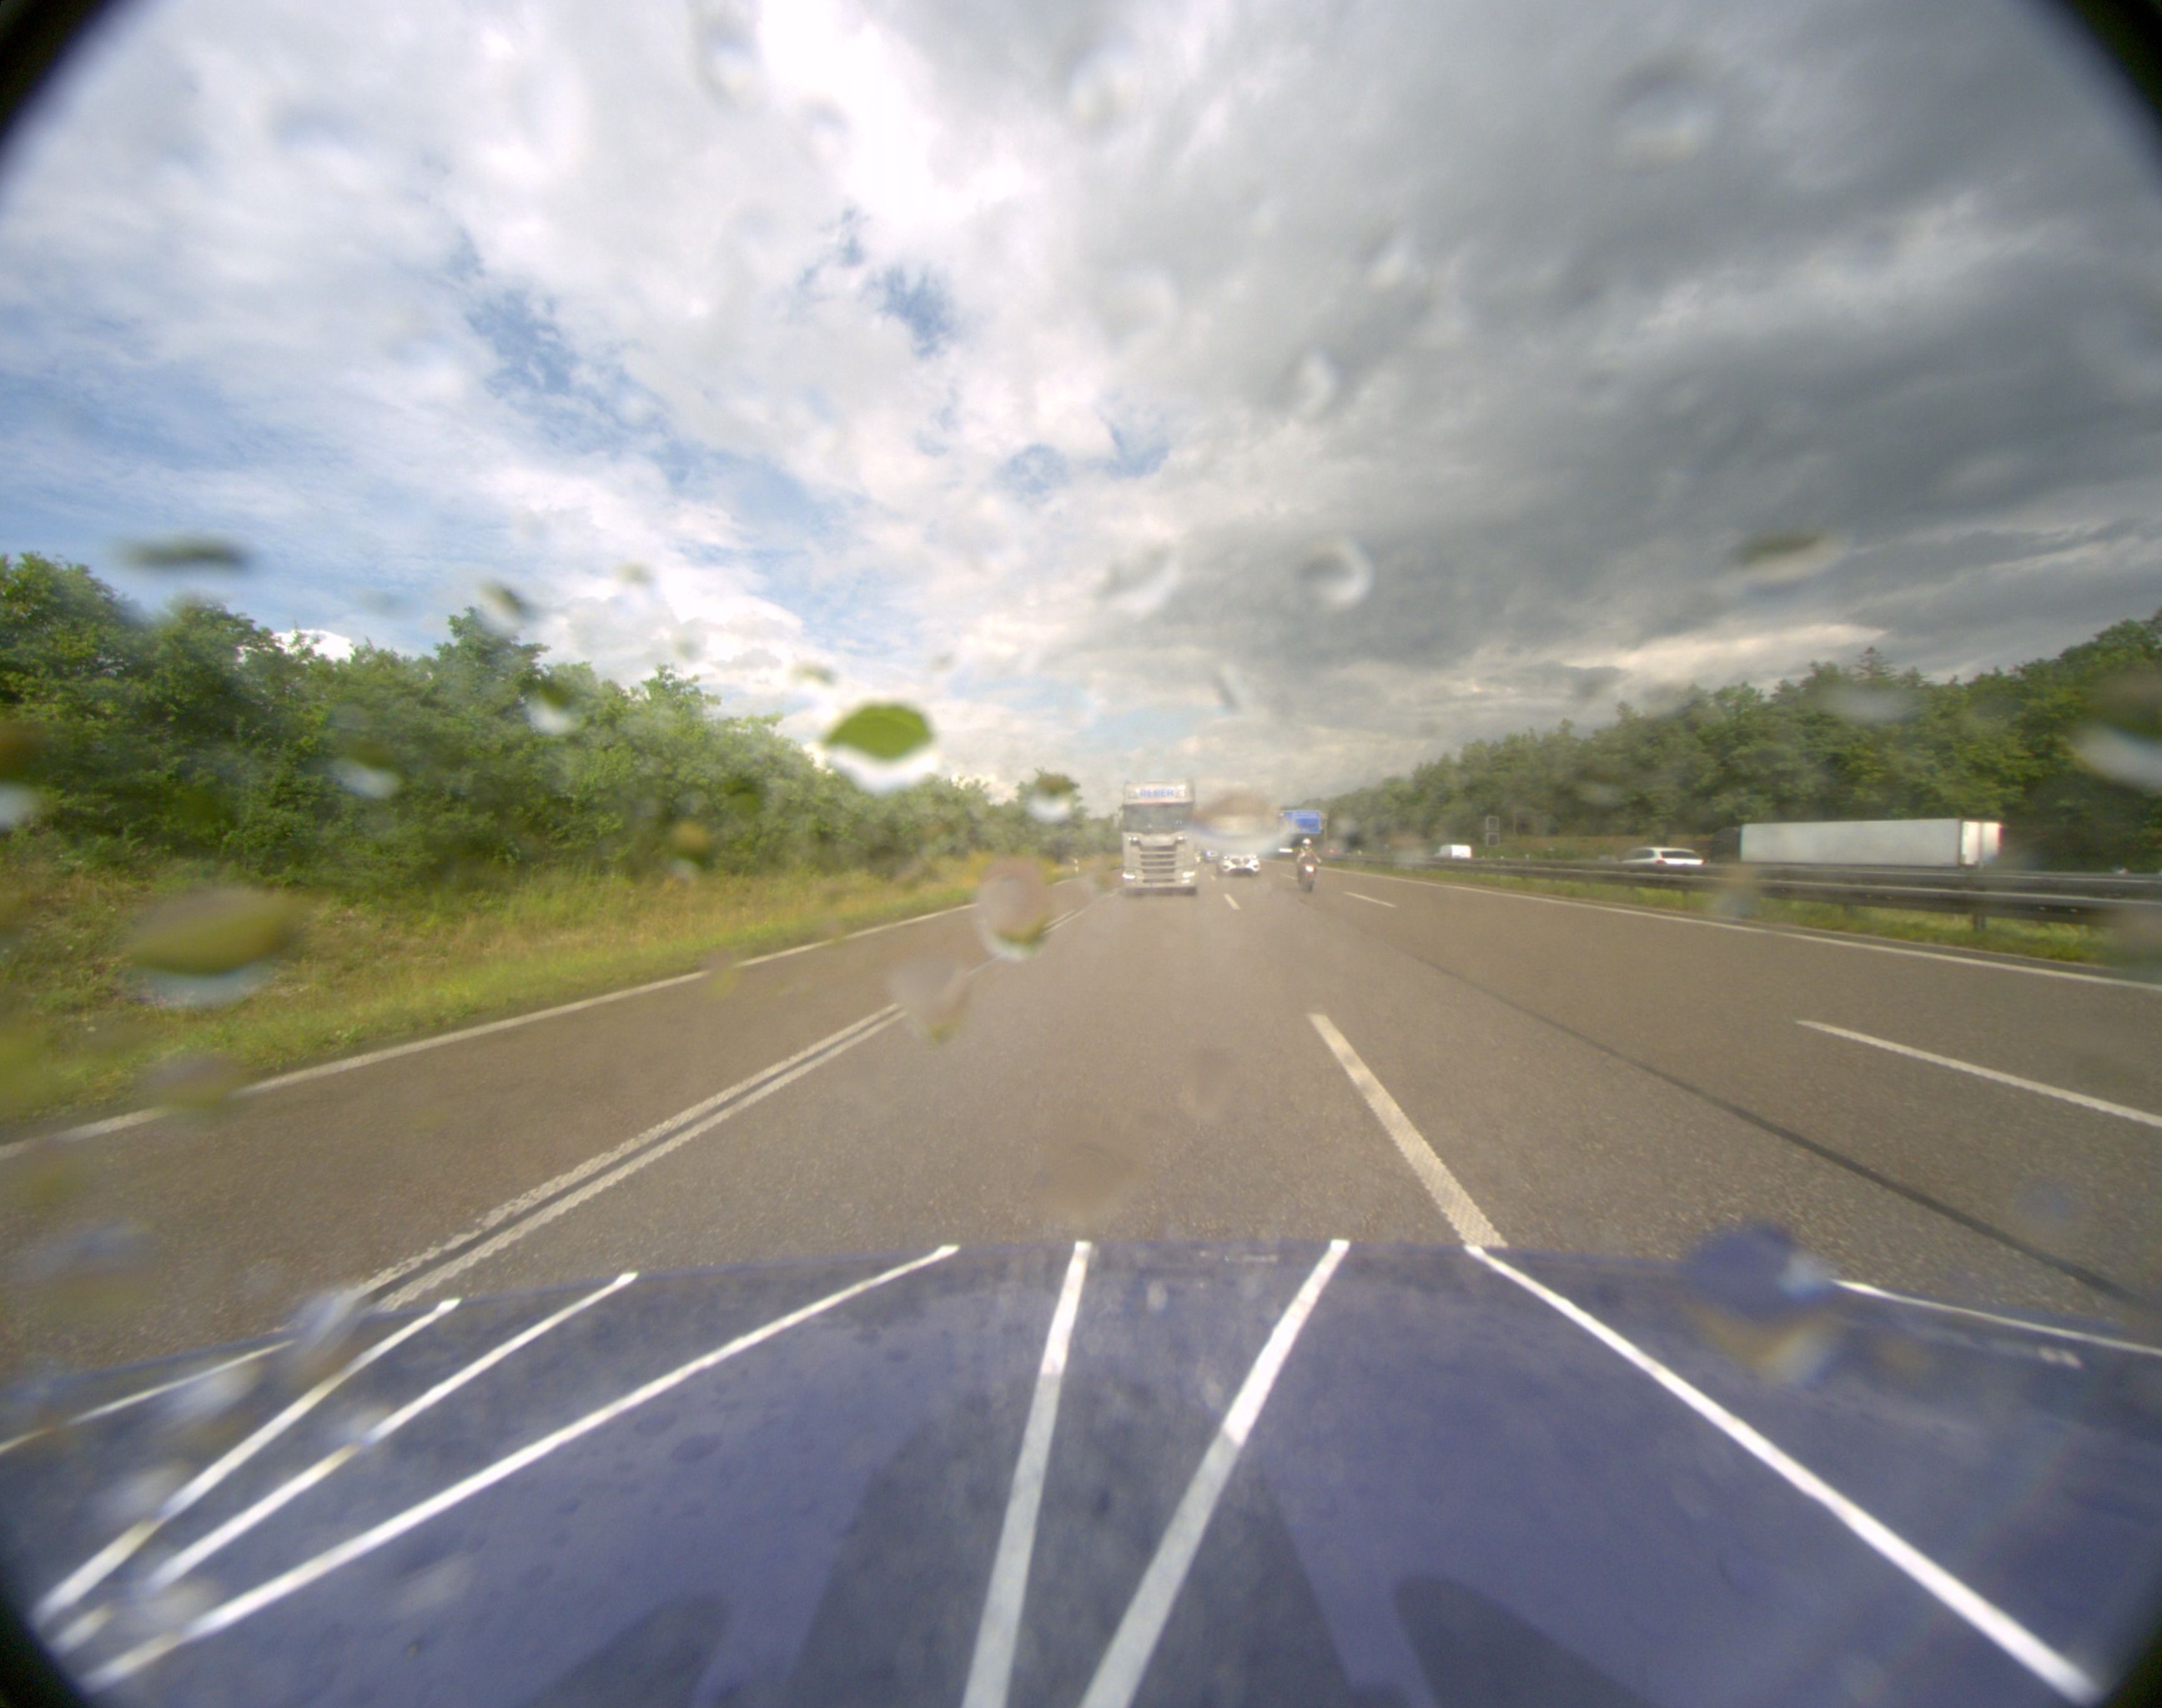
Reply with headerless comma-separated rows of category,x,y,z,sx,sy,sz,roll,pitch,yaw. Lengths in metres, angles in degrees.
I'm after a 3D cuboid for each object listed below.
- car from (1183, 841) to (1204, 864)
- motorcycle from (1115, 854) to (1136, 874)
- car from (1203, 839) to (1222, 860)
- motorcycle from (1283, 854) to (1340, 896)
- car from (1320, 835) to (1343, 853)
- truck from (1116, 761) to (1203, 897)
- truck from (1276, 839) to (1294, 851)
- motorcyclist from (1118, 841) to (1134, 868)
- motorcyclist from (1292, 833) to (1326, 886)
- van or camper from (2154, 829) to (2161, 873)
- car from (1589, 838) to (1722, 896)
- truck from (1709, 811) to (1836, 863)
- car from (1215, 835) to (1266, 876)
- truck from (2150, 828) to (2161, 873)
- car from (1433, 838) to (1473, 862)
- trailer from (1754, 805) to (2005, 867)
car,10.445,-0.170,70.697,1.833,2.033,4.781,-2,1,9
motorcycle,2.901,0.634,49.105,1.187,1.142,3.195,-2,1,6
car,14.207,-0.521,82.099,1.833,2.033,4.781,-2,1,9
motorcycle,7.610,0.655,25.260,1.187,1.219,3.195,-2,1,6
car,30.000,-1.207,91.024,1.833,2.033,4.781,-2,1,9
truck,2.840,-0.845,27.691,2.649,4.250,6.886,-2,1,6
truck,34.603,-1.553,128.773,2.261,1.884,5.448,-2,1,9
motorcyclist,2.920,0.014,49.147,0.883,1.696,1.001,-2,2,6
motorcyclist,7.530,0.159,25.150,0.883,1.696,1.001,-2,2,6
van or camper,55.602,-0.134,35.371,2.124,2.252,6.320,-2,1,-4
car,21.082,0.402,28.169,1.833,1.880,4.781,-2,1,9
truck,53.124,-1.289,58.677,3.217,3.684,6.912,-2,1,-6
car,8.603,0.033,41.380,2.348,2.033,5.145,-2,1,9
truck,55.645,-0.139,35.552,2.124,2.252,6.315,-2,1,-4
car,33.346,-0.425,68.242,1.833,2.033,4.781,-2,1,9
trailer,53.771,-1.167,52.125,3.213,3.718,12.561,-1,1,-5
